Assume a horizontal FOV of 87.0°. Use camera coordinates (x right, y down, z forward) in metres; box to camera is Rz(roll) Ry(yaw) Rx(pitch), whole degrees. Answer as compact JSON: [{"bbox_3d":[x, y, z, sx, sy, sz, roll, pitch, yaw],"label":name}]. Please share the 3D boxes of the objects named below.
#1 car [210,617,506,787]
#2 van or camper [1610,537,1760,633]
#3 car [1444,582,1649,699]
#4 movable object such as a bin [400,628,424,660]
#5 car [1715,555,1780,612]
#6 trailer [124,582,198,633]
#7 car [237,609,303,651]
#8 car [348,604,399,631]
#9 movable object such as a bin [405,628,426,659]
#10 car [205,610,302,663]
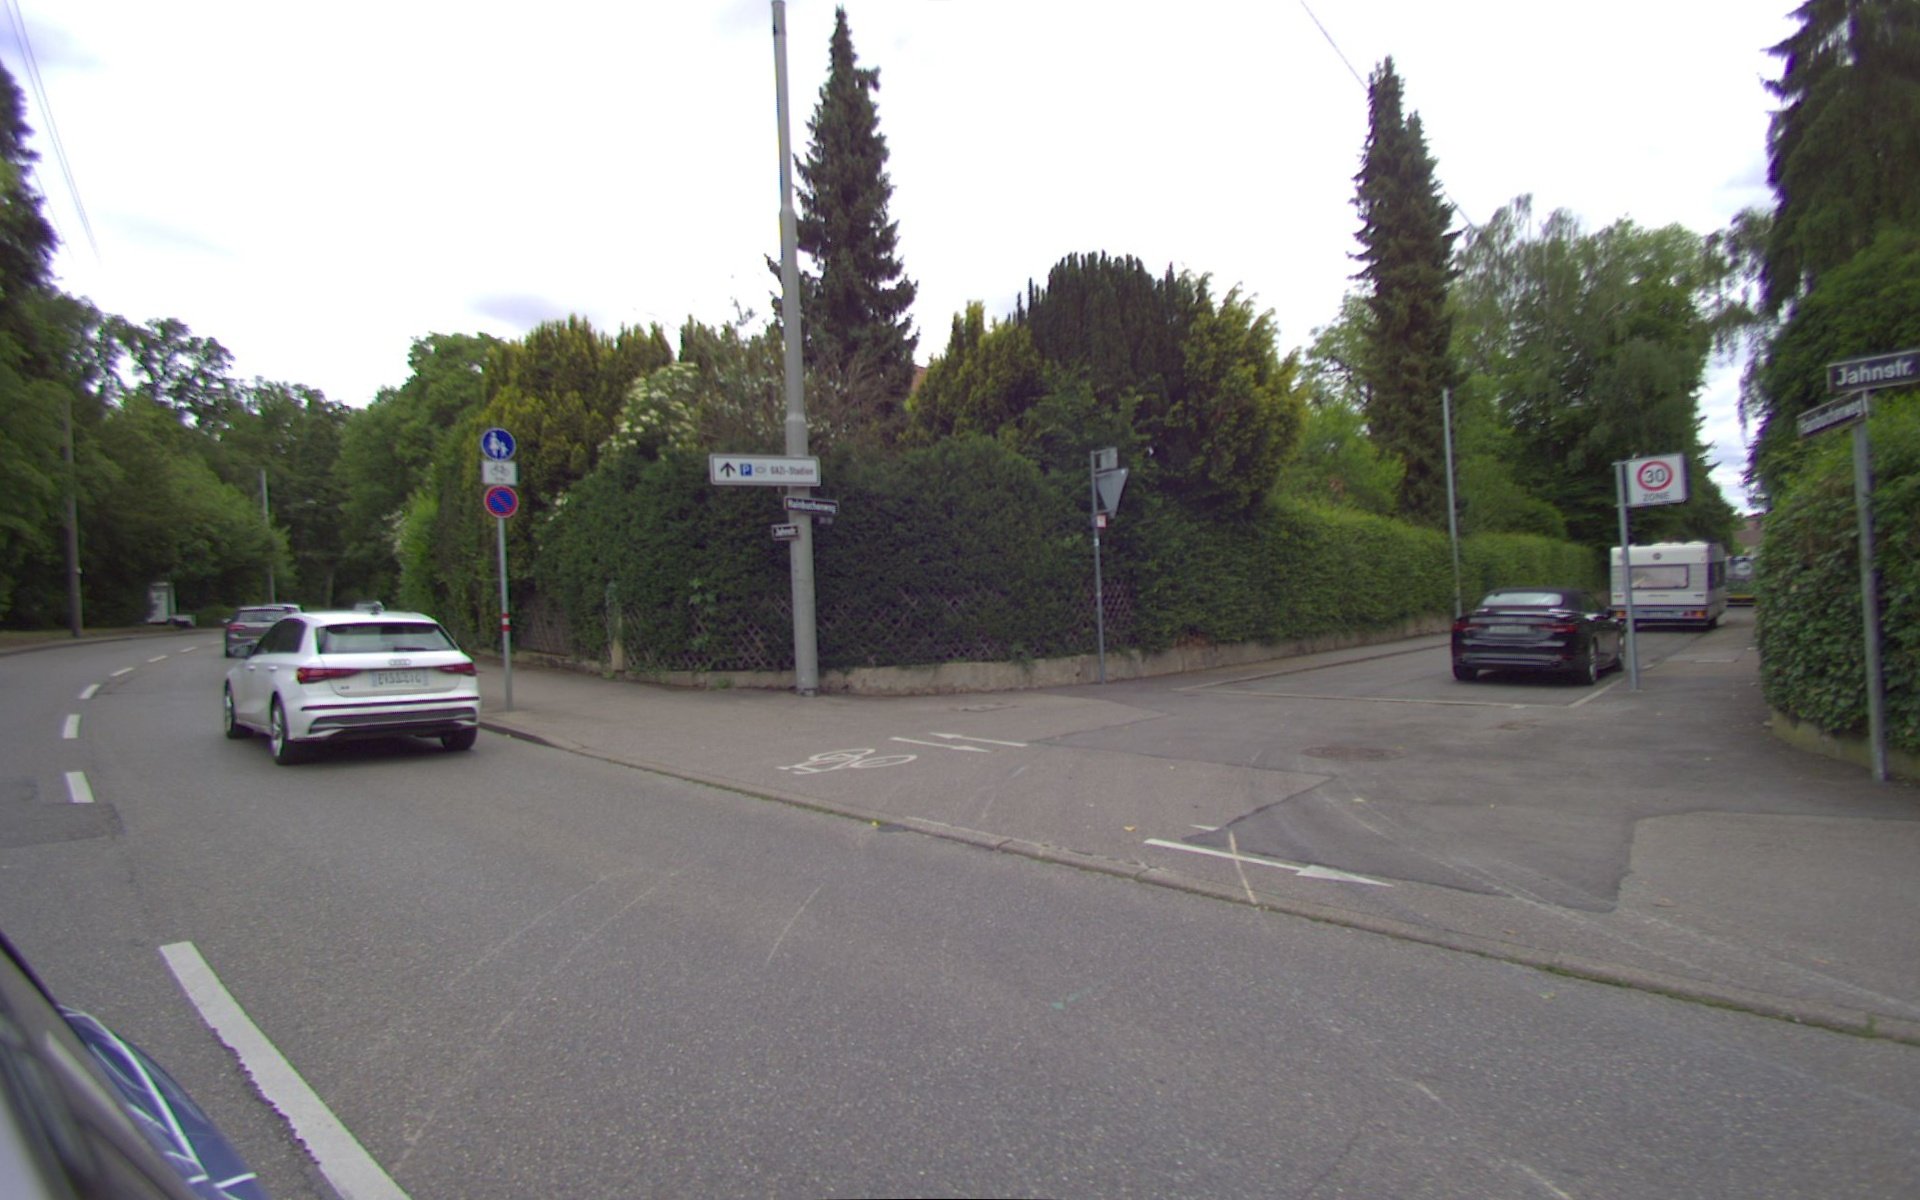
[{"bbox_3d":[-6.597,0.919,10.882,1.787,1.454,4.201,1,-1,-44],"label":"car"},{"bbox_3d":[20.671,-0.411,28.740,2.740,2.441,5.570,-1,0,43],"label":"van or camper"},{"bbox_3d":[9.219,0.509,15.696,1.887,1.426,4.698,-1,2,41],"label":"car"},{"bbox_3d":[-21.216,1.698,39.200,0.730,1.150,0.648,-3,0,-30],"label":"movable object such as a bin"},{"bbox_3d":[37.392,-0.768,48.016,1.889,2.585,4.693,-1,0,44],"label":"car"},{"bbox_3d":[-46.893,0.432,59.456,3.072,2.921,1.598,-1,-1,-25],"label":"trailer"},{"bbox_3d":[-26.598,1.150,38.959,1.877,1.465,3.805,-2,0,-37],"label":"car"},{"bbox_3d":[-38.602,1.149,66.671,1.966,1.630,4.012,1,1,-16],"label":"car"},{"bbox_3d":[-20.653,1.641,38.367,0.620,1.153,0.648,-3,0,-30],"label":"movable object such as a bin"},{"bbox_3d":[-20.450,1.025,29.250,1.889,1.409,3.914,1,-2,-41],"label":"car"}]
